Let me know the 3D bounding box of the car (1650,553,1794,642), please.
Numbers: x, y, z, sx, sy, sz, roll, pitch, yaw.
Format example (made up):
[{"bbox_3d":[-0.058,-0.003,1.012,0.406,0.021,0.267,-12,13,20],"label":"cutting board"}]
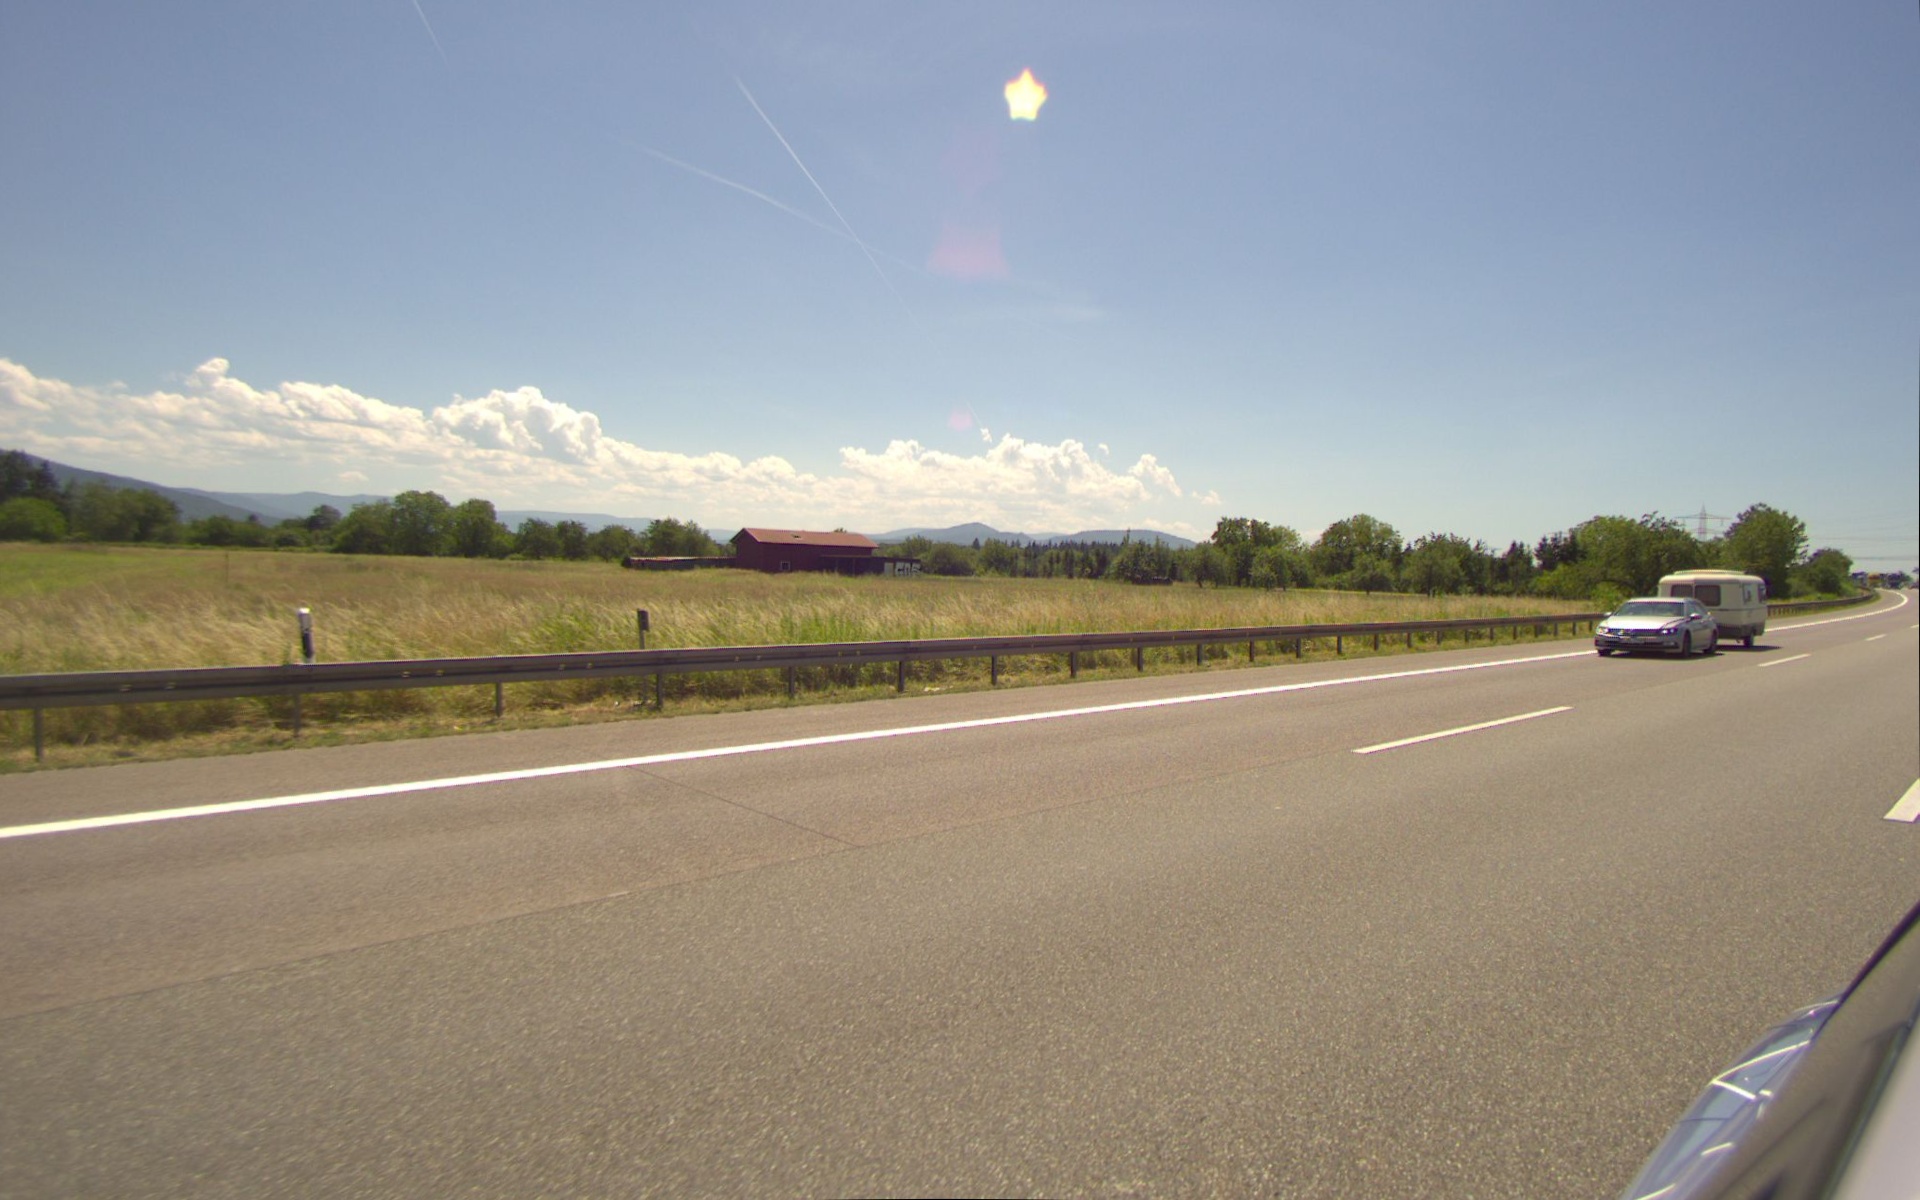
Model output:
[{"bbox_3d":[22.130,-0.069,29.299,5.231,2.351,2.445,1,0,-43],"label":"car"}]

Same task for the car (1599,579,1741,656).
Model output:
[{"bbox_3d":[17.890,0.397,25.376,2.046,1.679,5.421,2,1,44],"label":"car"}]

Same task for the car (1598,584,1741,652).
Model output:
[{"bbox_3d":[17.834,0.391,25.316,5.289,1.534,1.889,-1,0,-43],"label":"car"}]
